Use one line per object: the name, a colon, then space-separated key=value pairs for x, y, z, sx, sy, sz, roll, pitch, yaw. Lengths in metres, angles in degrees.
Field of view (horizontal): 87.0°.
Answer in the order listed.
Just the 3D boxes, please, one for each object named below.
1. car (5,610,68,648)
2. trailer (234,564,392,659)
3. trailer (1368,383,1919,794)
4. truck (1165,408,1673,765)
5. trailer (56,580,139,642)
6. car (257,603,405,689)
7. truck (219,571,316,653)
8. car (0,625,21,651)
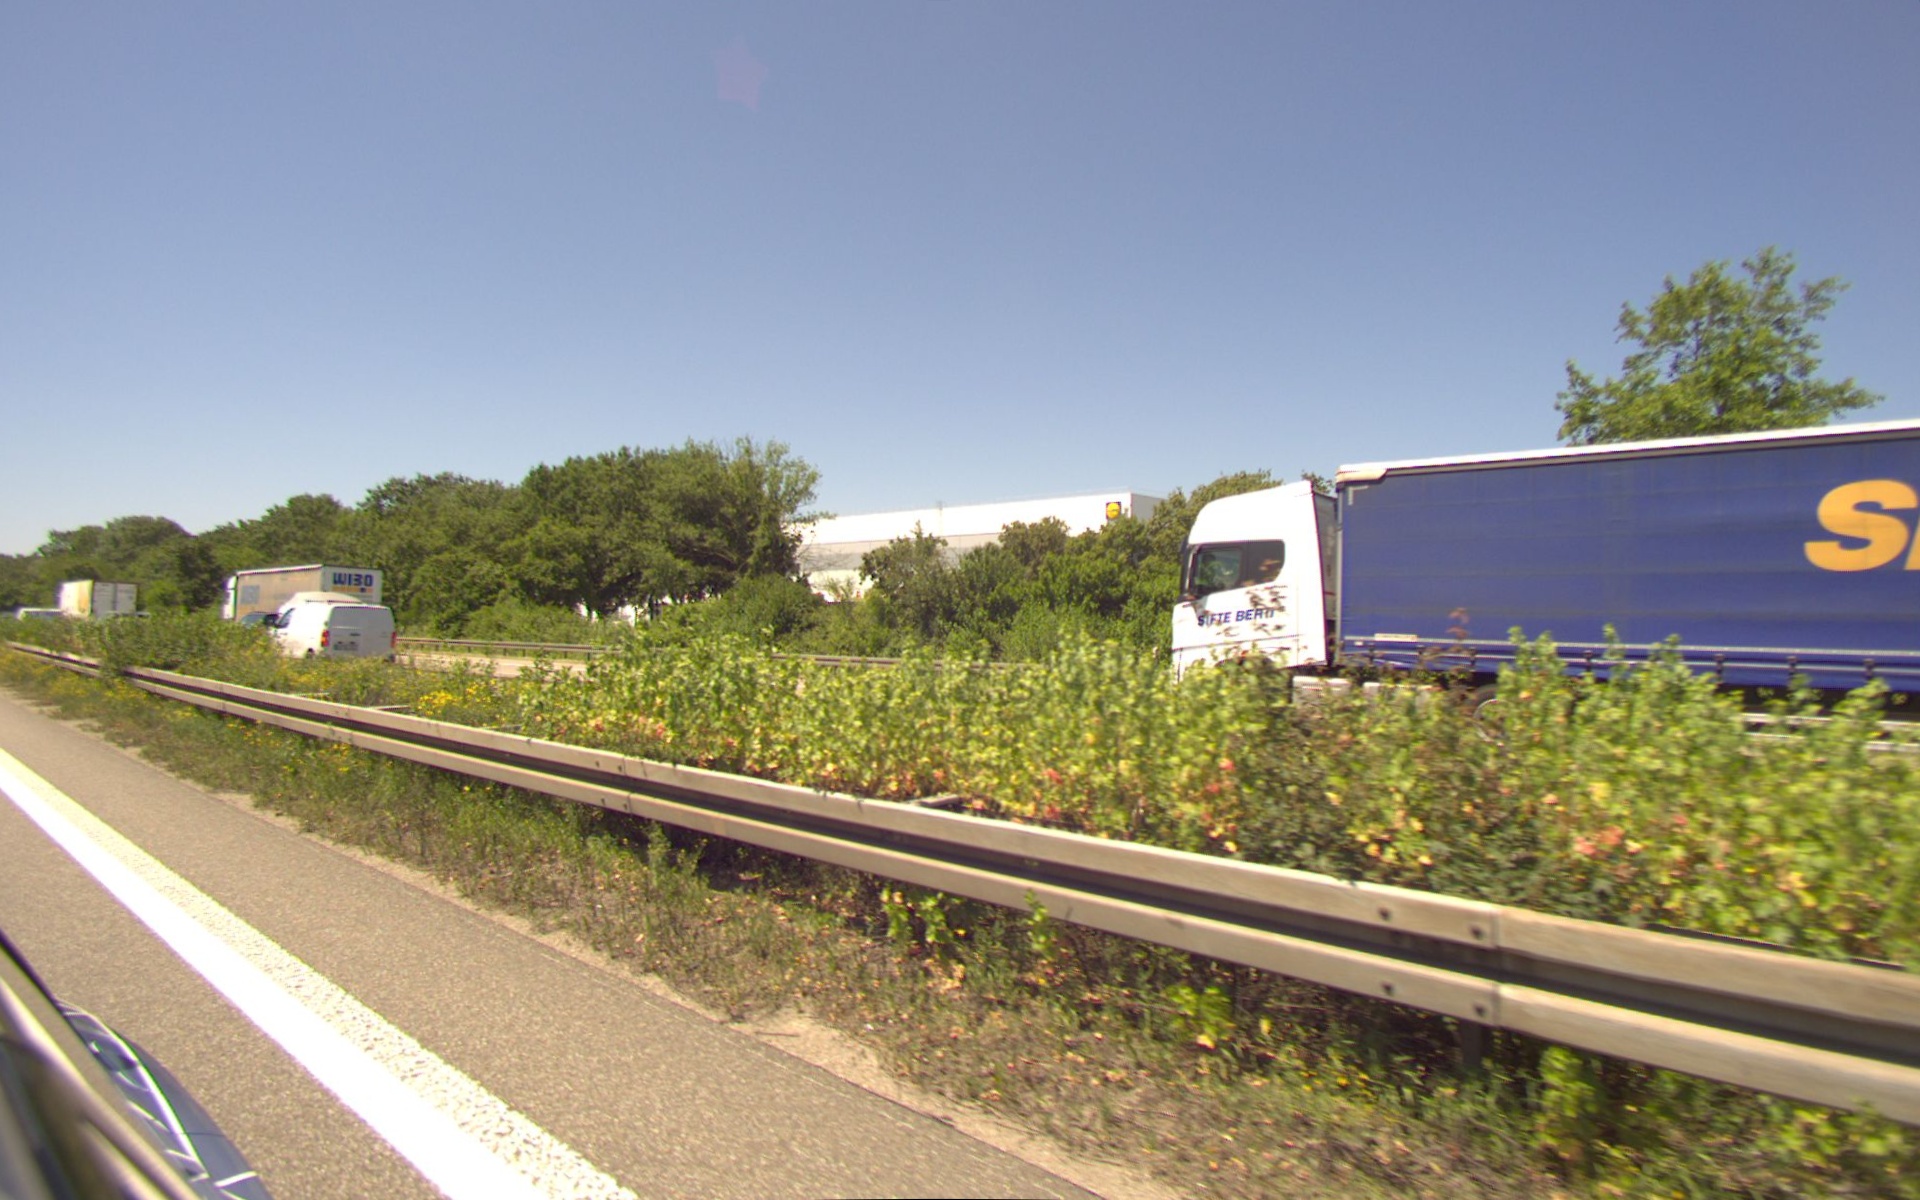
car: x=-52.046 y=1.598 z=56.999 sx=5.487 sy=2.046 sz=1.973 roll=-1 pitch=0 yaw=41
trailer: x=-32.439 y=0.638 z=50.283 sx=14.048 sy=4.134 sz=2.728 roll=-1 pitch=-4 yaw=42
trailer: x=11.847 y=-0.046 z=10.674 sx=13.731 sy=4.243 sz=2.946 roll=1 pitch=-2 yaw=41
truck: x=6.675 y=-0.166 z=15.237 sx=6.309 sy=4.243 sz=2.974 roll=1 pitch=-2 yaw=41
trailer: x=-63.156 y=0.852 z=73.935 sx=14.345 sy=4.116 sz=2.710 roll=-1 pitch=-3 yaw=43
car: x=-16.874 y=1.149 z=27.074 sx=4.708 sy=2.088 sz=1.974 roll=-1 pitch=0 yaw=39
truck: x=-37.586 y=0.711 z=54.859 sx=6.150 sy=4.134 sz=2.728 roll=-1 pitch=-4 yaw=42
car: x=-67.153 y=2.615 z=70.503 sx=4.798 sy=1.706 sz=1.939 roll=-1 pitch=0 yaw=40
